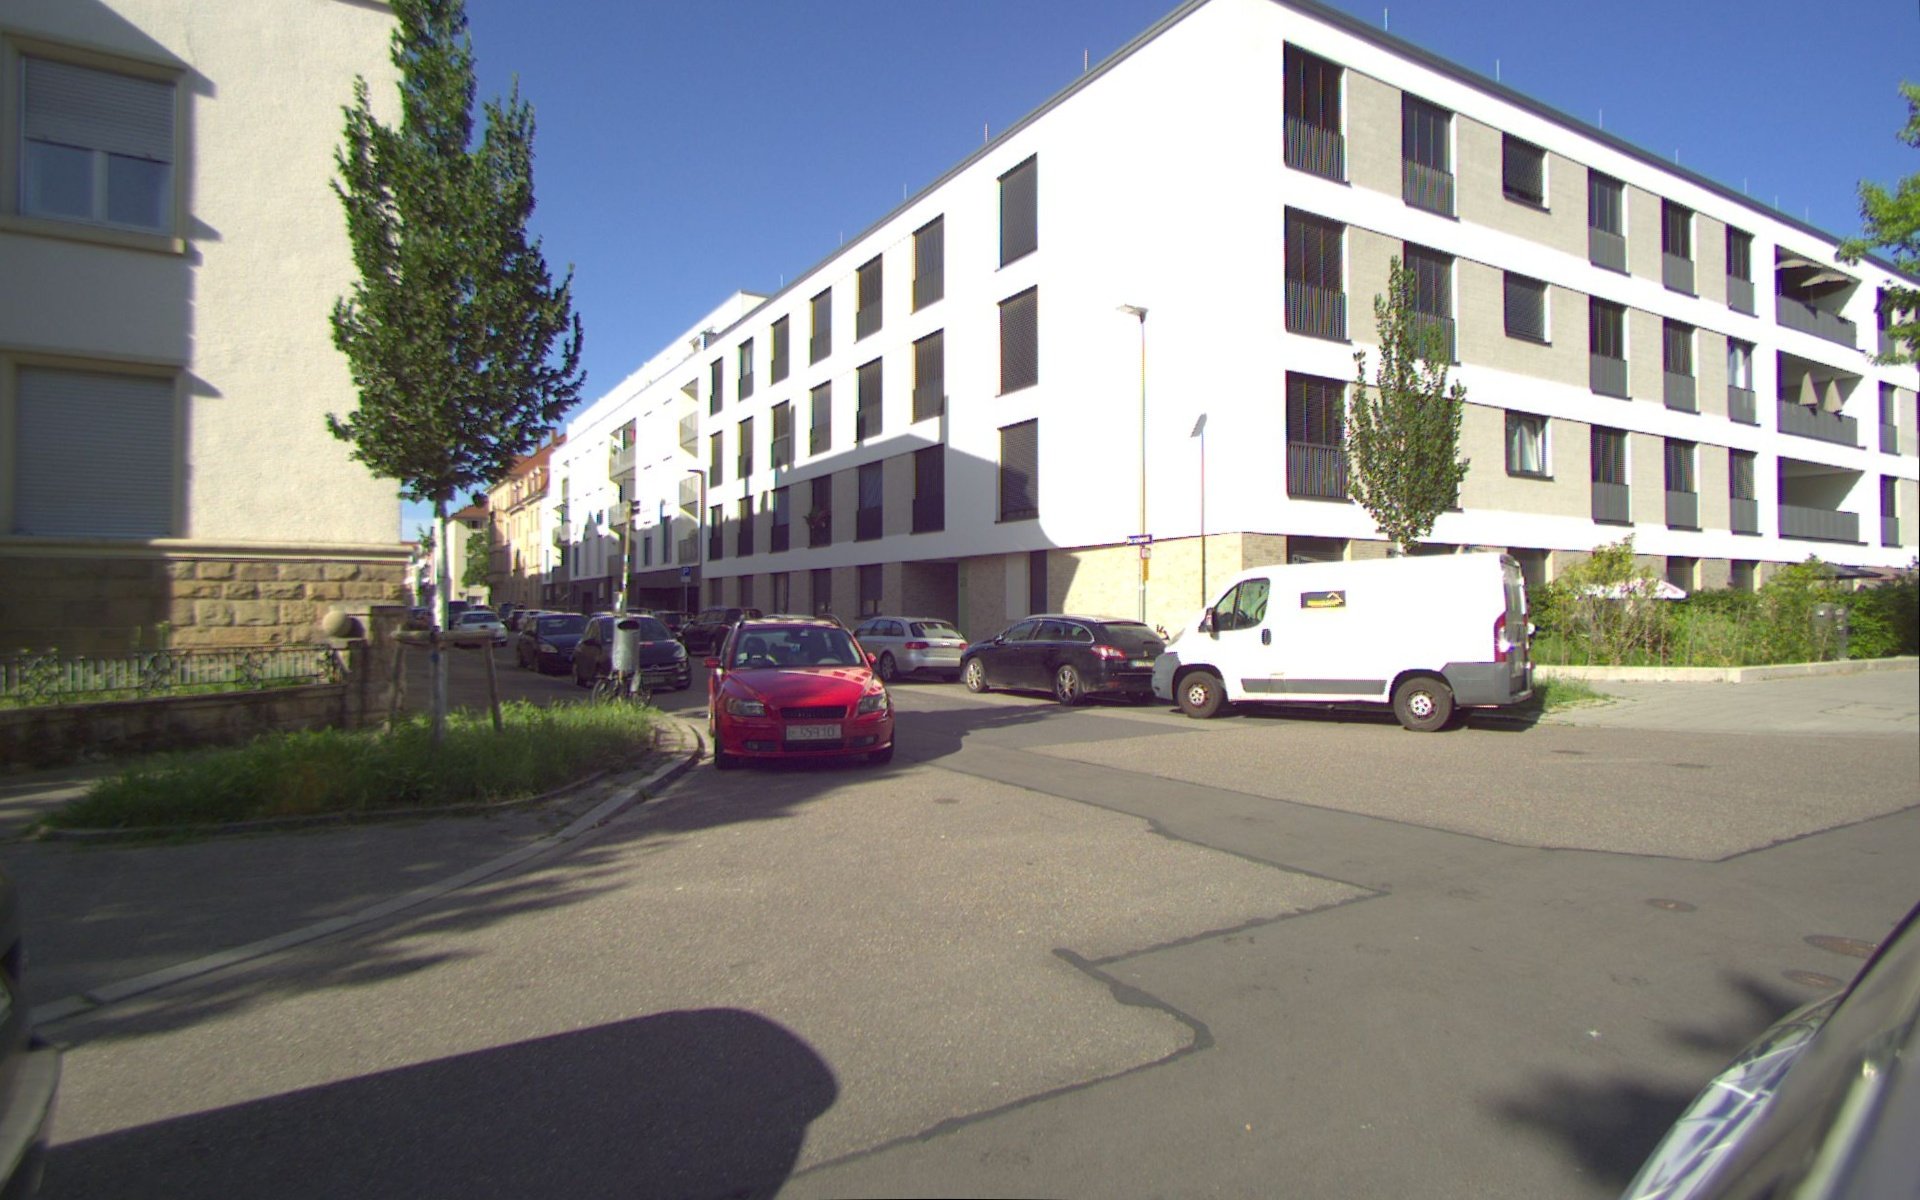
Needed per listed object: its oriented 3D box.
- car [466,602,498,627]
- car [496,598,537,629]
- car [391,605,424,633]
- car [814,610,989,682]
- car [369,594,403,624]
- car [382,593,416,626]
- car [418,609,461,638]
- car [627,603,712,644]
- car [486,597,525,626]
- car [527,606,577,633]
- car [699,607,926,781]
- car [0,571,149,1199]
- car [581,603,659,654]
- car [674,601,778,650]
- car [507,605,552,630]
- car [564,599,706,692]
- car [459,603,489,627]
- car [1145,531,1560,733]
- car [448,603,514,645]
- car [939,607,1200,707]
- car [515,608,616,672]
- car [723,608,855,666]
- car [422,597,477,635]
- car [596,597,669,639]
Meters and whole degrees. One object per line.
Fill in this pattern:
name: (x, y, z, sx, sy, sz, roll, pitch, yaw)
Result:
car: (-40.840, 1.239, 86.373, 1.927, 2.025, 4.530, 0, -2, -32)
car: (-30.352, 0.936, 69.182, 1.927, 2.025, 4.530, 0, -2, -32)
car: (-43.093, 1.490, 78.865, 1.961, 2.084, 5.167, 0, -1, -32)
car: (-1.480, 0.972, 23.119, 1.922, 1.447, 4.947, 2, -2, -31)
car: (-61.273, 0.984, 107.935, 2.527, 3.006, 6.216, 0, -1, -35)
car: (-52.344, 0.926, 94.390, 2.525, 3.006, 6.221, 0, -1, -31)
car: (-28.524, 1.264, 55.390, 1.960, 1.495, 4.004, 0, -1, -29)
car: (-11.253, 0.910, 39.013, 1.927, 1.488, 4.530, 0, -2, -32)
car: (-33.285, 0.855, 74.058, 1.927, 2.025, 4.530, 0, -2, -32)
car: (-23.838, 1.171, 59.108, 1.927, 1.488, 4.530, 0, -2, -32)
car: (-1.888, 0.836, 11.371, 1.912, 1.488, 4.743, -1, 0, -16)
car: (-3.663, 0.771, 0.505, 4.870, 1.544, 1.902, -1, -1, -32)
car: (-11.379, 0.901, 33.729, 1.752, 1.543, 4.004, 0, 0, -30)
car: (-7.740, 0.819, 33.131, 1.927, 1.488, 4.530, 0, -2, -32)
car: (-27.348, 1.117, 64.206, 1.927, 1.488, 4.530, 0, -2, -32)
car: (-6.612, 0.810, 20.320, 1.798, 1.661, 4.187, 0, 0, -31)
car: (-44.081, 1.374, 91.681, 1.927, 2.025, 4.530, 0, -2, -32)
car: (5.350, 0.376, 14.143, 5.027, 2.335, 2.205, 0, 0, 37)
car: (-19.601, 0.969, 41.312, 1.961, 1.572, 4.436, 0, -1, -32)
car: (1.744, 0.875, 17.937, 2.007, 1.488, 4.947, 0, 0, -32)
car: (-10.320, 0.976, 26.251, 1.790, 1.488, 4.948, 0, -1, -29)
car: (-4.971, 1.021, 28.778, 1.927, 1.488, 4.945, 0, -2, -32)
car: (-25.463, 0.803, 50.406, 2.054, 1.755, 4.817, 0, -1, -32)
car: (-14.036, 0.797, 43.228, 1.927, 1.707, 4.530, 0, -2, -32)
